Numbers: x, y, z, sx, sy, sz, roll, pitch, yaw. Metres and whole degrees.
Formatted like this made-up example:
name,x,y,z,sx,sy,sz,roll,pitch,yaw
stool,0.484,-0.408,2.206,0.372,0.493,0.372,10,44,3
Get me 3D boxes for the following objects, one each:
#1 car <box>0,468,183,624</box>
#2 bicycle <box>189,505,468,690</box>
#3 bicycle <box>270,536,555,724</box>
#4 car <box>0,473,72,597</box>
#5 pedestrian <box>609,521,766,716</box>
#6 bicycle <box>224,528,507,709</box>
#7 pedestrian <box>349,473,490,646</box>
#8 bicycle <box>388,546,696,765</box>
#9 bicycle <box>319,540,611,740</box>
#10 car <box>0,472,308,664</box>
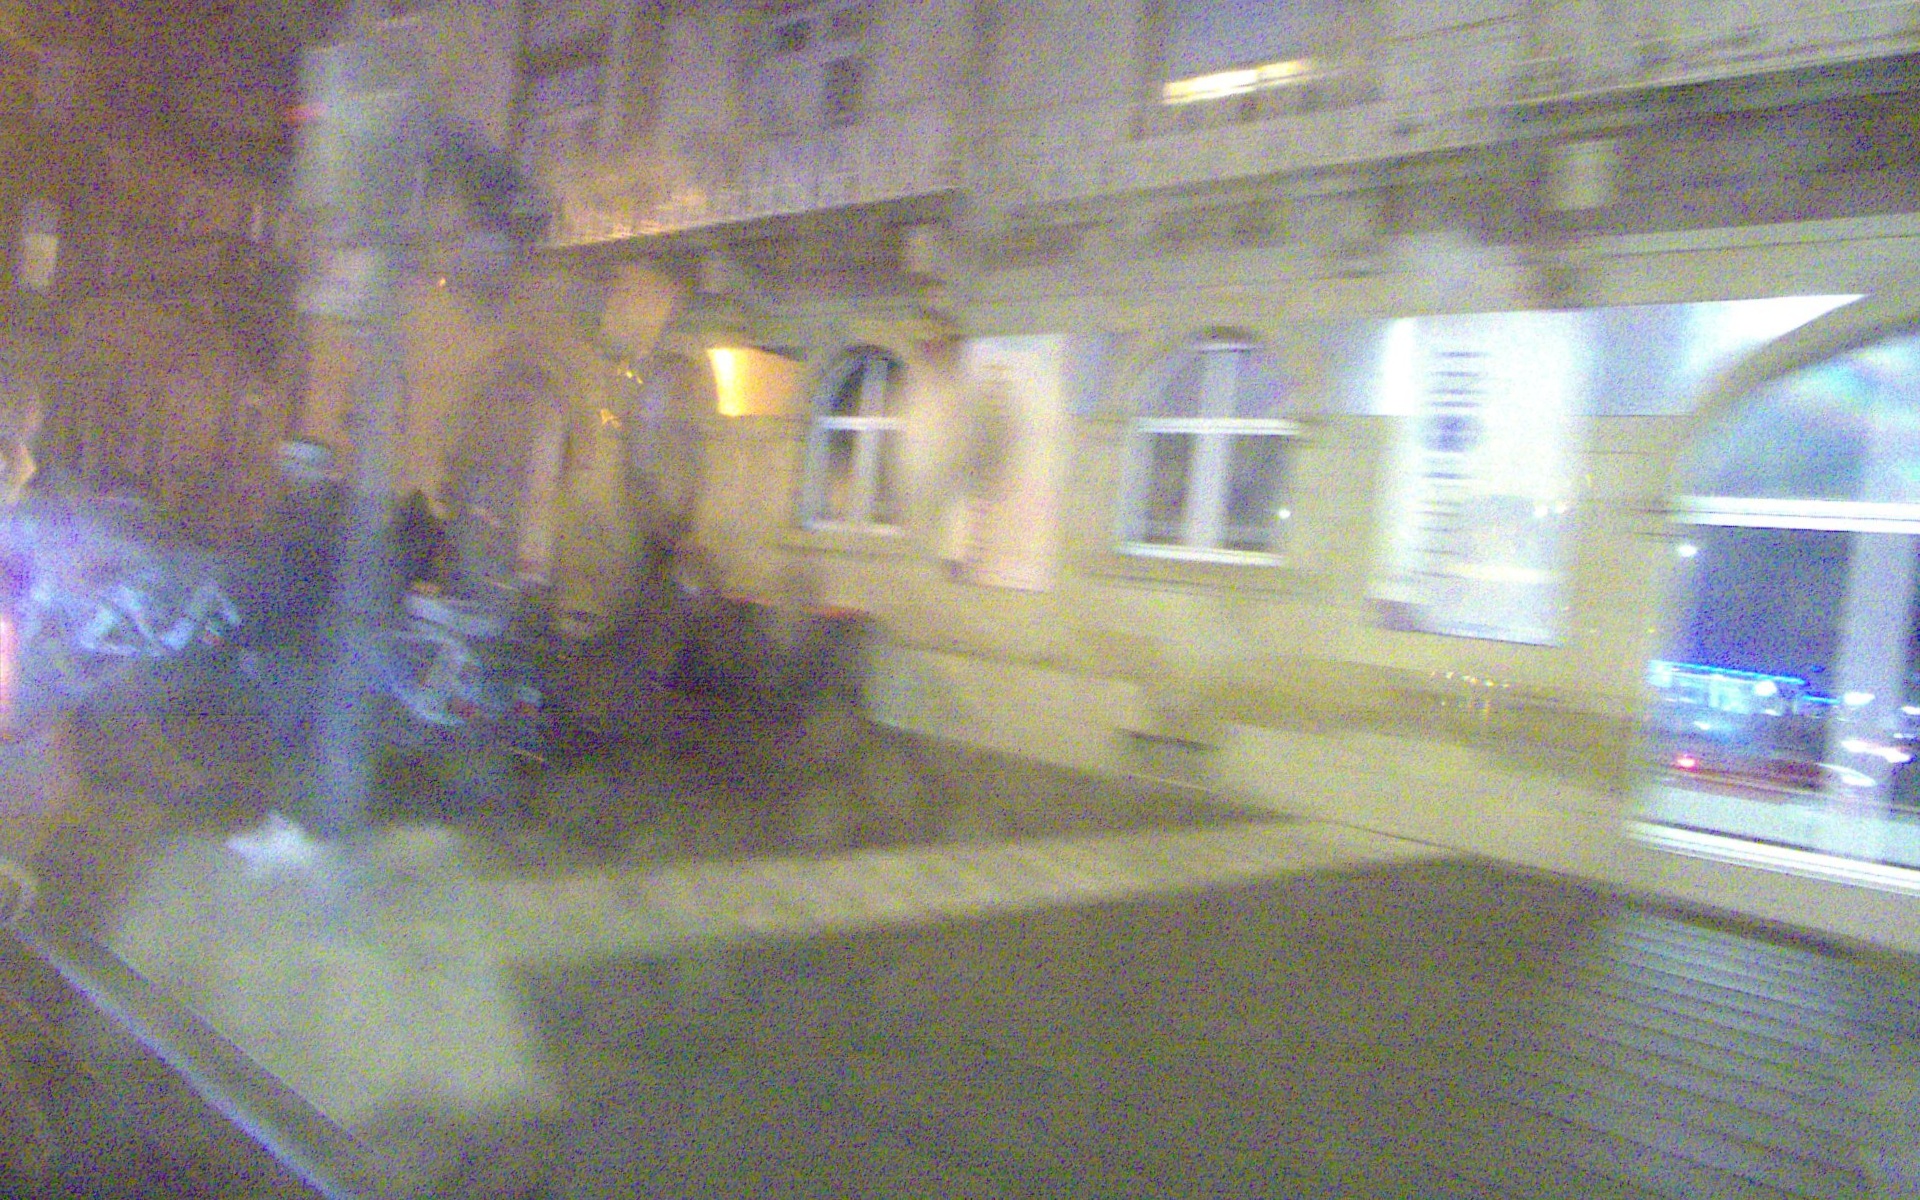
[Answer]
name,x,y,z,sx,sy,sz,roll,pitch,yaw
car,-10.824,-0.669,10.823,1.849,1.597,4.180,7,1,-5
bicycle,-5.275,0.009,8.555,0.585,1.377,1.899,6,1,27
bicycle,-4.207,0.236,7.910,0.585,1.268,1.899,6,1,27
car,-13.283,-0.934,11.944,1.699,1.610,4.183,7,1,-1
pedestrian,-2.506,0.166,9.270,0.983,1.638,0.782,7,1,33
bicycle,-4.752,0.165,8.202,0.585,1.268,1.899,6,1,27
pedestrian,-6.464,-0.473,12.042,0.983,1.905,0.958,7,1,33
bicycle,-2.809,0.362,7.004,0.698,1.268,1.899,6,1,27
bicycle,-3.590,0.293,7.494,0.585,1.268,1.899,6,1,27
car,-8.463,-0.386,9.680,1.824,1.476,4.180,7,1,-5
